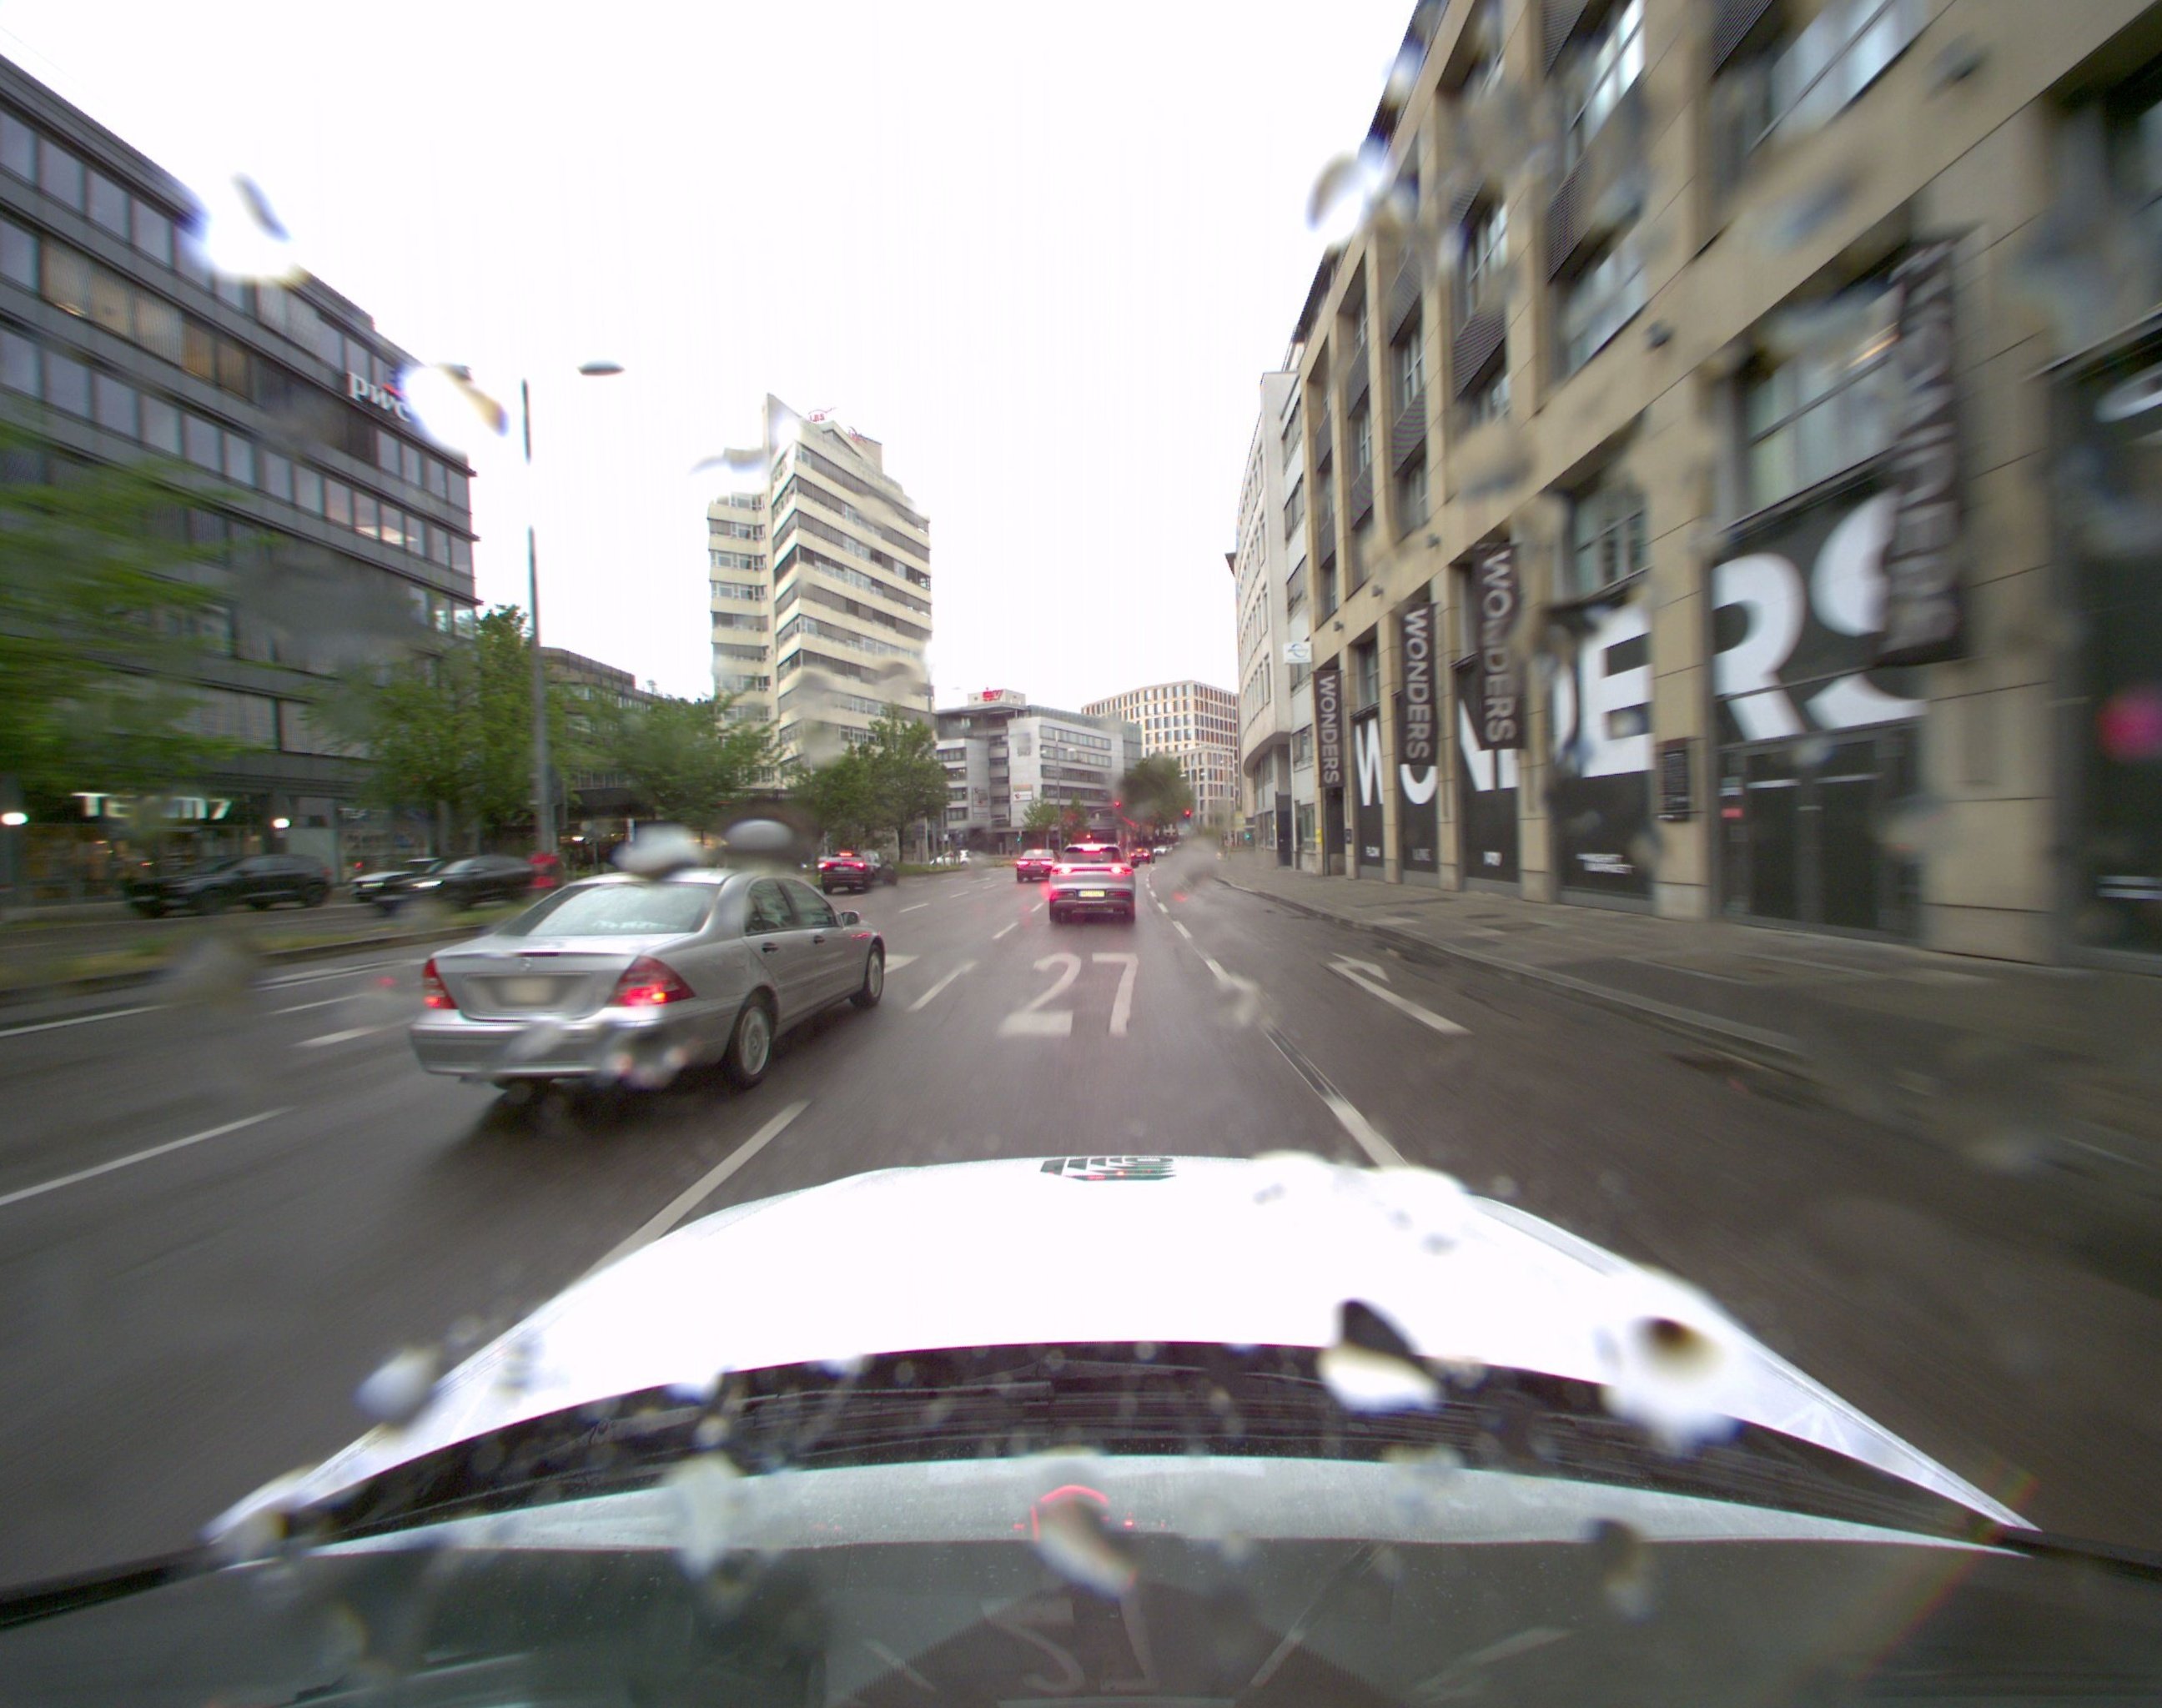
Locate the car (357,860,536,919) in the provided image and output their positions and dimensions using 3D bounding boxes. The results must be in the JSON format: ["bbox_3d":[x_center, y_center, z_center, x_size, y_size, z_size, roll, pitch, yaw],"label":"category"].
[{"bbox_3d":[-17.711,0.926,23.016,1.617,1.453,4.165,-2,0,3],"label":"car"}]

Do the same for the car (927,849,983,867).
[{"bbox_3d":[-9.817,0.293,63.670,3.955,1.342,1.666,-1,0,17],"label":"car"}]

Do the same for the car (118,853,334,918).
[{"bbox_3d":[-23.864,0.808,22.994,1.618,1.611,4.231,0,0,0],"label":"car"}]

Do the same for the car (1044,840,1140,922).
[{"bbox_3d":[0.270,0.531,18.286,1.894,1.621,4.001,-1,0,1],"label":"car"}]

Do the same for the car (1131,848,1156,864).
[{"bbox_3d":[6.396,0.201,83.020,1.798,1.578,4.016,-1,0,14],"label":"car"}]

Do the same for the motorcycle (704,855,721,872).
[{"bbox_3d":[-29.978,0.750,66.274,0.709,1.332,1.800,-1,0,-42],"label":"motorcycle"}]

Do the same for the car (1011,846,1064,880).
[{"bbox_3d":[-1.999,0.423,38.848,1.864,1.479,4.883,-1,-1,4],"label":"car"}]

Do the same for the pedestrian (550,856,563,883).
[{"bbox_3d":[-30.326,0.888,47.105,0.606,1.503,0.432,-1,0,-37],"label":"pedestrian"}]

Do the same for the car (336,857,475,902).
[{"bbox_3d":[-23.876,0.855,28.986,1.618,1.460,3.962,0,0,0],"label":"car"}]

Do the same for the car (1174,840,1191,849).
[{"bbox_3d":[20.138,-1.832,162.125,1.839,1.736,4.026,-1,0,32],"label":"car"}]

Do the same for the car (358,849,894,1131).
[{"bbox_3d":[-2.906,0.713,6.475,1.666,1.479,4.363,0,0,2],"label":"car"}]

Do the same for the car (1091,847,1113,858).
[{"bbox_3d":[3.215,-0.236,123.834,1.565,1.538,4.025,-1,0,30],"label":"car"}]

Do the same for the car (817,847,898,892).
[{"bbox_3d":[-8.048,0.539,29.697,1.768,1.457,4.000,-2,0,0],"label":"car"}]

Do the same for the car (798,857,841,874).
[{"bbox_3d":[-18.741,0.783,58.550,1.573,1.090,4.004,-2,0,4],"label":"car"}]

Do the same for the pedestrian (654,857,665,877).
[{"bbox_3d":[-32.016,0.968,61.867,0.670,1.503,0.432,-1,0,-37],"label":"pedestrian"}]

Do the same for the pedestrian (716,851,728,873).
[{"bbox_3d":[-28.084,0.618,63.668,0.757,1.713,0.587,-1,0,-37],"label":"pedestrian"}]

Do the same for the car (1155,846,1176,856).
[{"bbox_3d":[13.273,-0.451,127.627,1.565,1.538,4.026,-1,0,32],"label":"car"}]
